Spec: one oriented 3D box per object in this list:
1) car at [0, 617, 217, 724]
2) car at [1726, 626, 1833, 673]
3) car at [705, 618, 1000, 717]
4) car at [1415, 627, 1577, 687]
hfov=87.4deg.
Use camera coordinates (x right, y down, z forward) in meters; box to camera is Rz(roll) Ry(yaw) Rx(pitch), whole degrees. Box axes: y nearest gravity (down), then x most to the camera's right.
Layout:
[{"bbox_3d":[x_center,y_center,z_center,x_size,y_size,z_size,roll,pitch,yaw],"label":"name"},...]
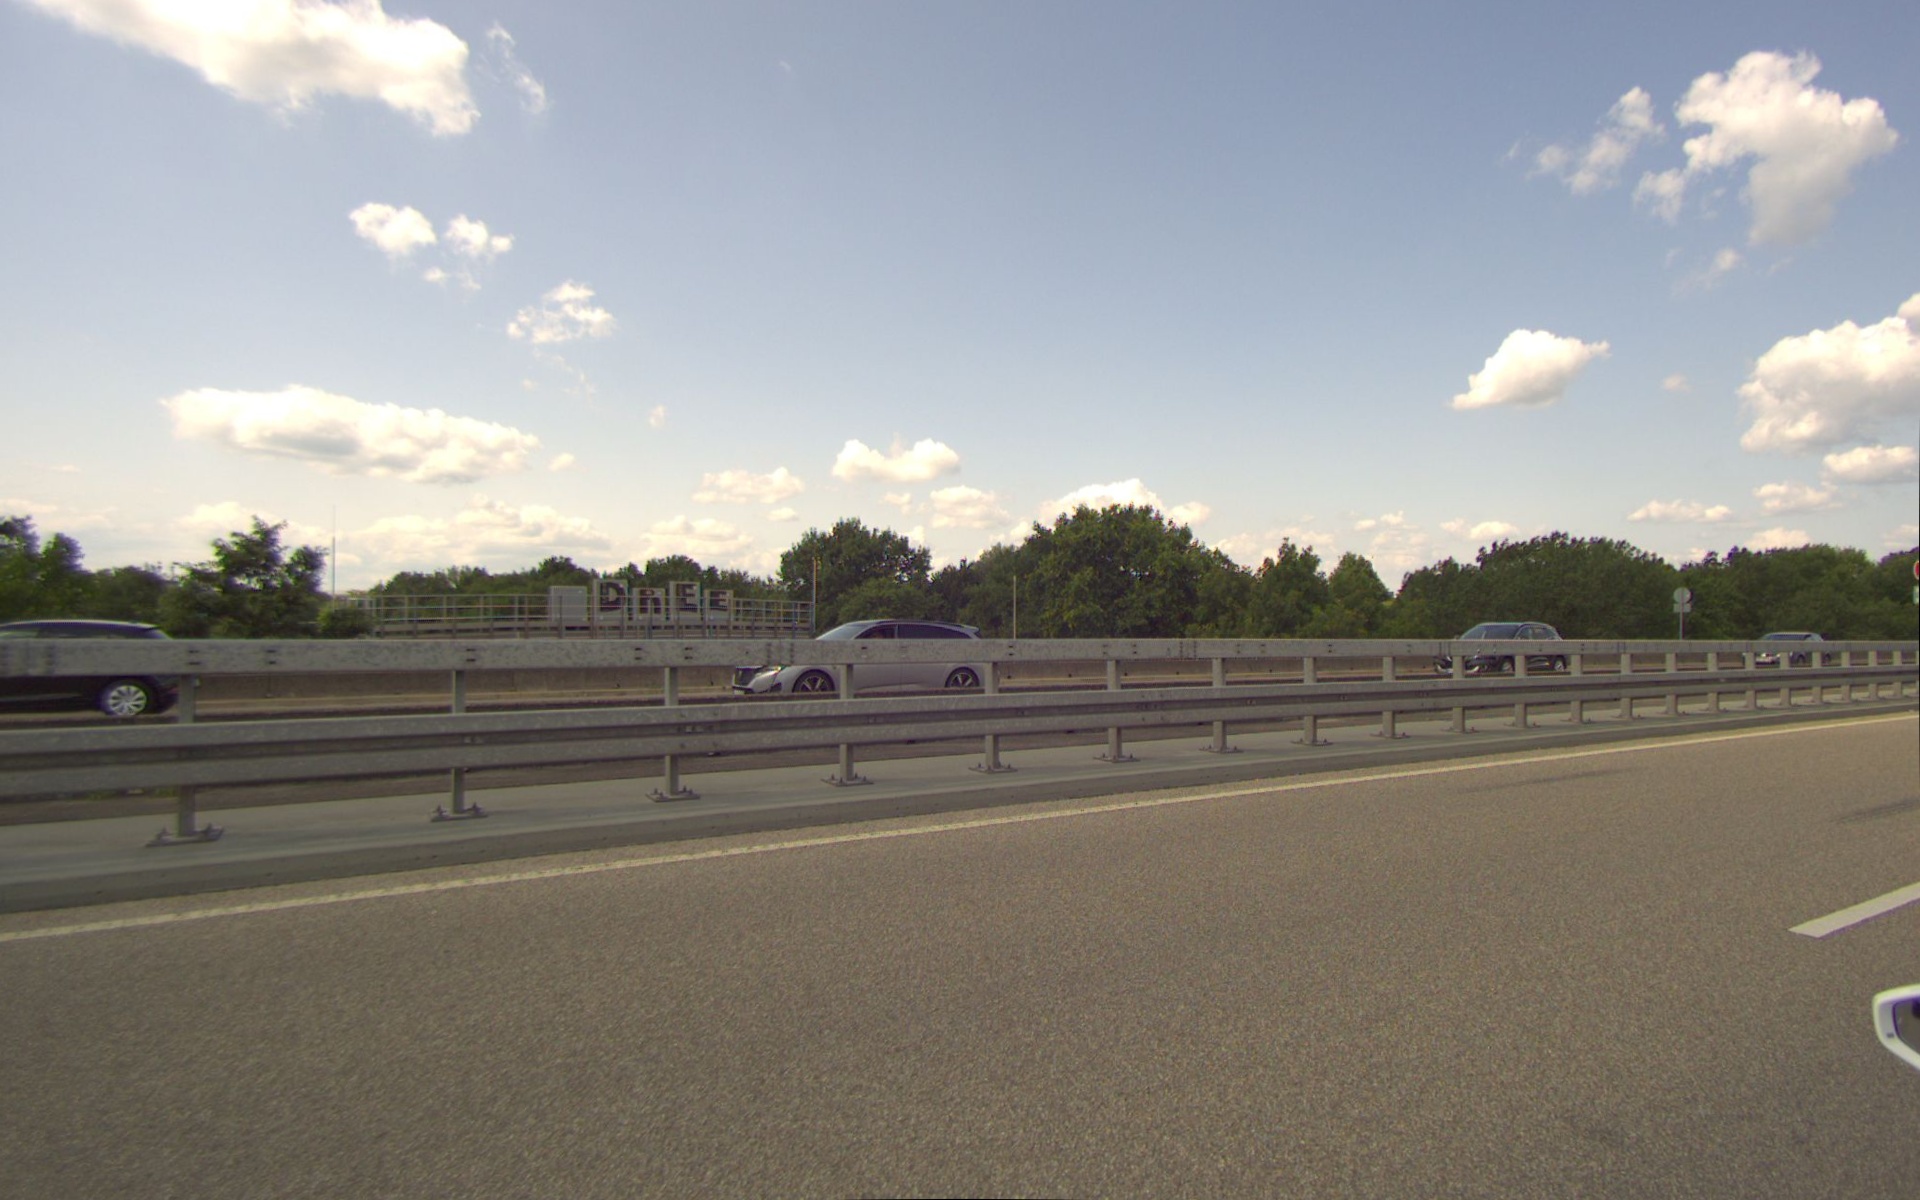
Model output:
[{"bbox_3d":[-13.136,0.967,14.291,3.955,1.420,1.669,1,-1,-32],"label":"car"},{"bbox_3d":[31.016,1.831,37.994,3.956,1.595,1.982,1,1,-33],"label":"car"},{"bbox_3d":[-1.732,1.055,16.726,4.568,1.439,1.768,1,-1,-31],"label":"car"},{"bbox_3d":[14.601,1.510,27.312,4.467,1.483,1.902,1,-1,-31],"label":"car"}]
